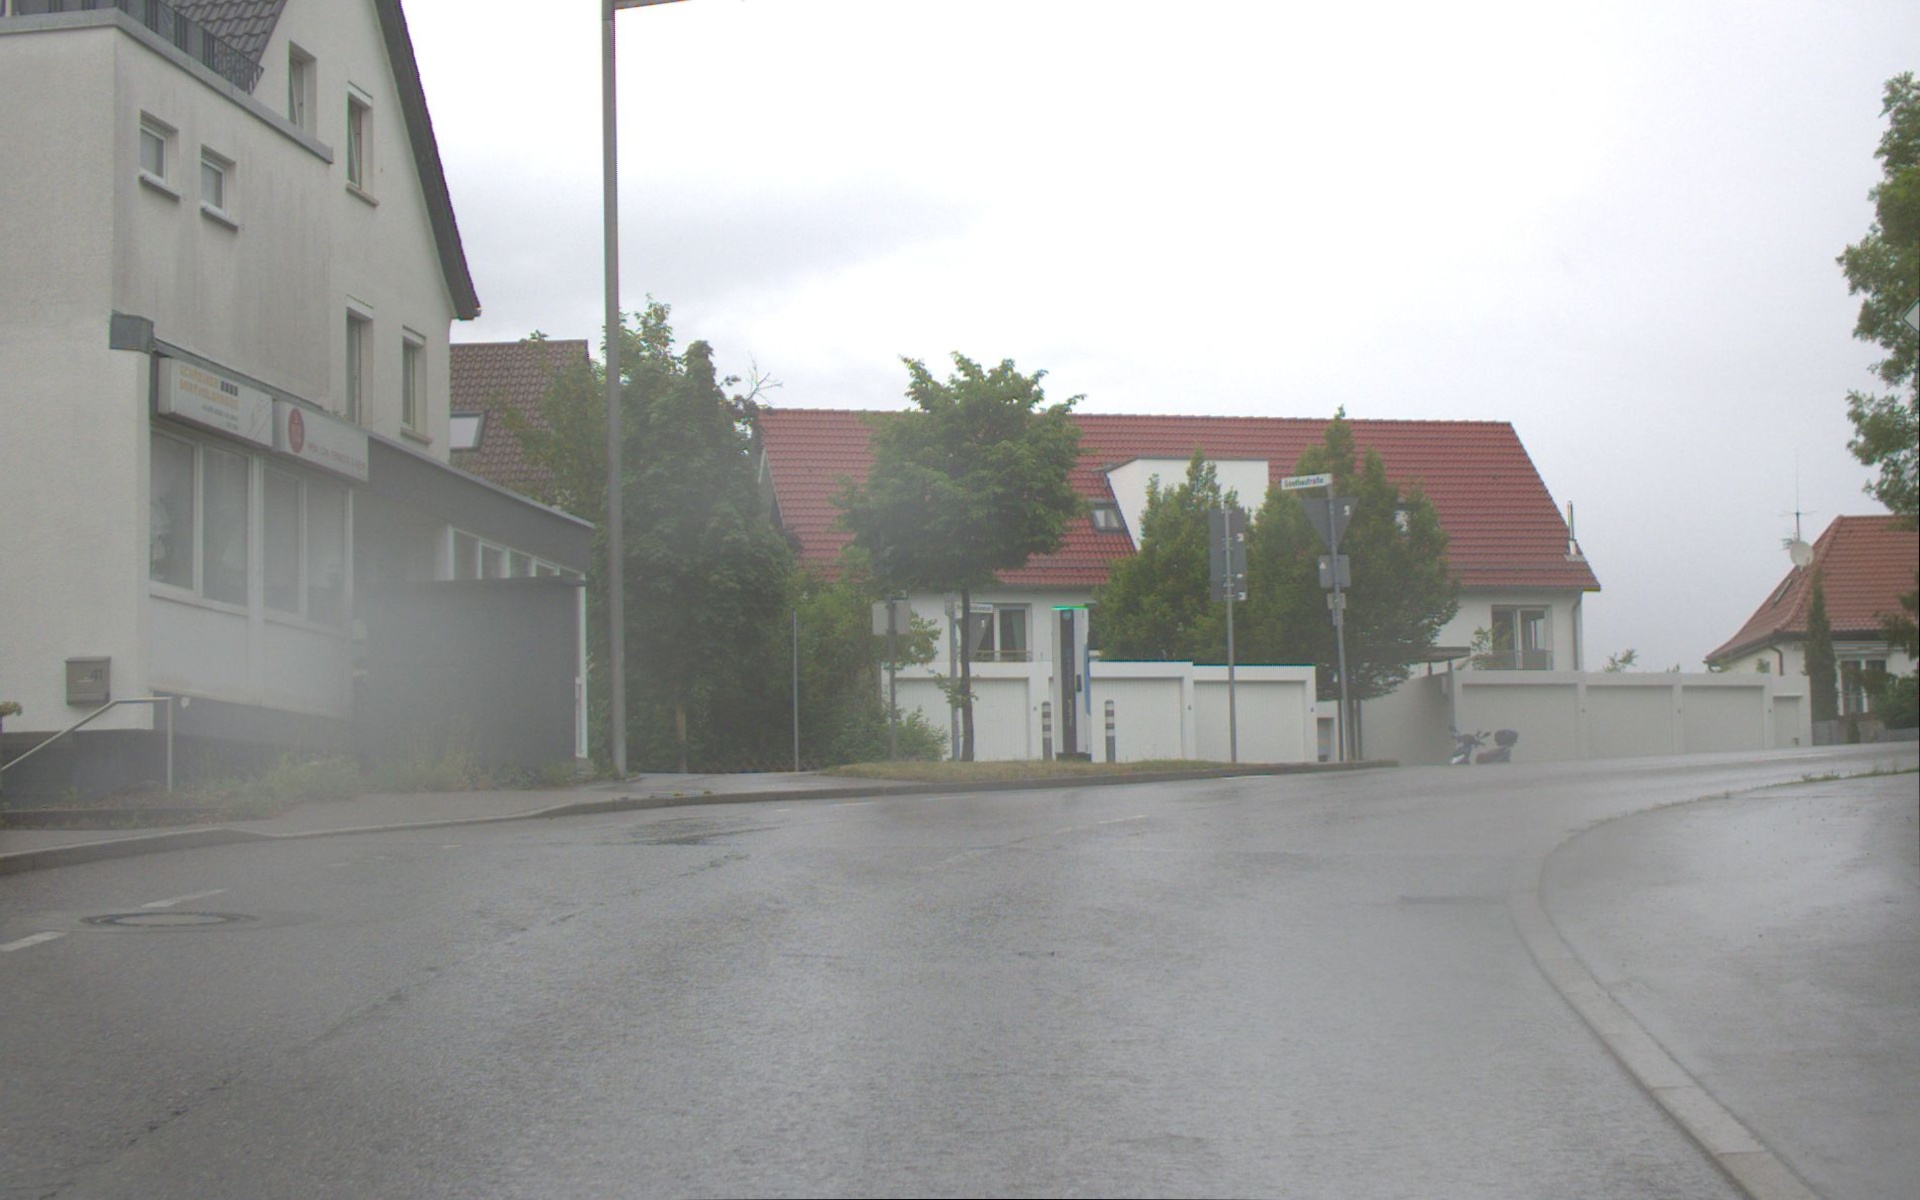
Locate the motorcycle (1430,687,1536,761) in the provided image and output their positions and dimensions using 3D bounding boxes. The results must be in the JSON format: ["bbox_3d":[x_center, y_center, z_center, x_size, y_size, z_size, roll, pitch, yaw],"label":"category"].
[{"bbox_3d":[10.023,2.369,65.832,2.040,1.318,0.708,-1,-4,-38],"label":"motorcycle"}]

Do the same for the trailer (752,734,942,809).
[{"bbox_3d":[-1.846,2.817,56.535,2.815,1.003,1.592,-5,-3,9],"label":"trailer"}]
